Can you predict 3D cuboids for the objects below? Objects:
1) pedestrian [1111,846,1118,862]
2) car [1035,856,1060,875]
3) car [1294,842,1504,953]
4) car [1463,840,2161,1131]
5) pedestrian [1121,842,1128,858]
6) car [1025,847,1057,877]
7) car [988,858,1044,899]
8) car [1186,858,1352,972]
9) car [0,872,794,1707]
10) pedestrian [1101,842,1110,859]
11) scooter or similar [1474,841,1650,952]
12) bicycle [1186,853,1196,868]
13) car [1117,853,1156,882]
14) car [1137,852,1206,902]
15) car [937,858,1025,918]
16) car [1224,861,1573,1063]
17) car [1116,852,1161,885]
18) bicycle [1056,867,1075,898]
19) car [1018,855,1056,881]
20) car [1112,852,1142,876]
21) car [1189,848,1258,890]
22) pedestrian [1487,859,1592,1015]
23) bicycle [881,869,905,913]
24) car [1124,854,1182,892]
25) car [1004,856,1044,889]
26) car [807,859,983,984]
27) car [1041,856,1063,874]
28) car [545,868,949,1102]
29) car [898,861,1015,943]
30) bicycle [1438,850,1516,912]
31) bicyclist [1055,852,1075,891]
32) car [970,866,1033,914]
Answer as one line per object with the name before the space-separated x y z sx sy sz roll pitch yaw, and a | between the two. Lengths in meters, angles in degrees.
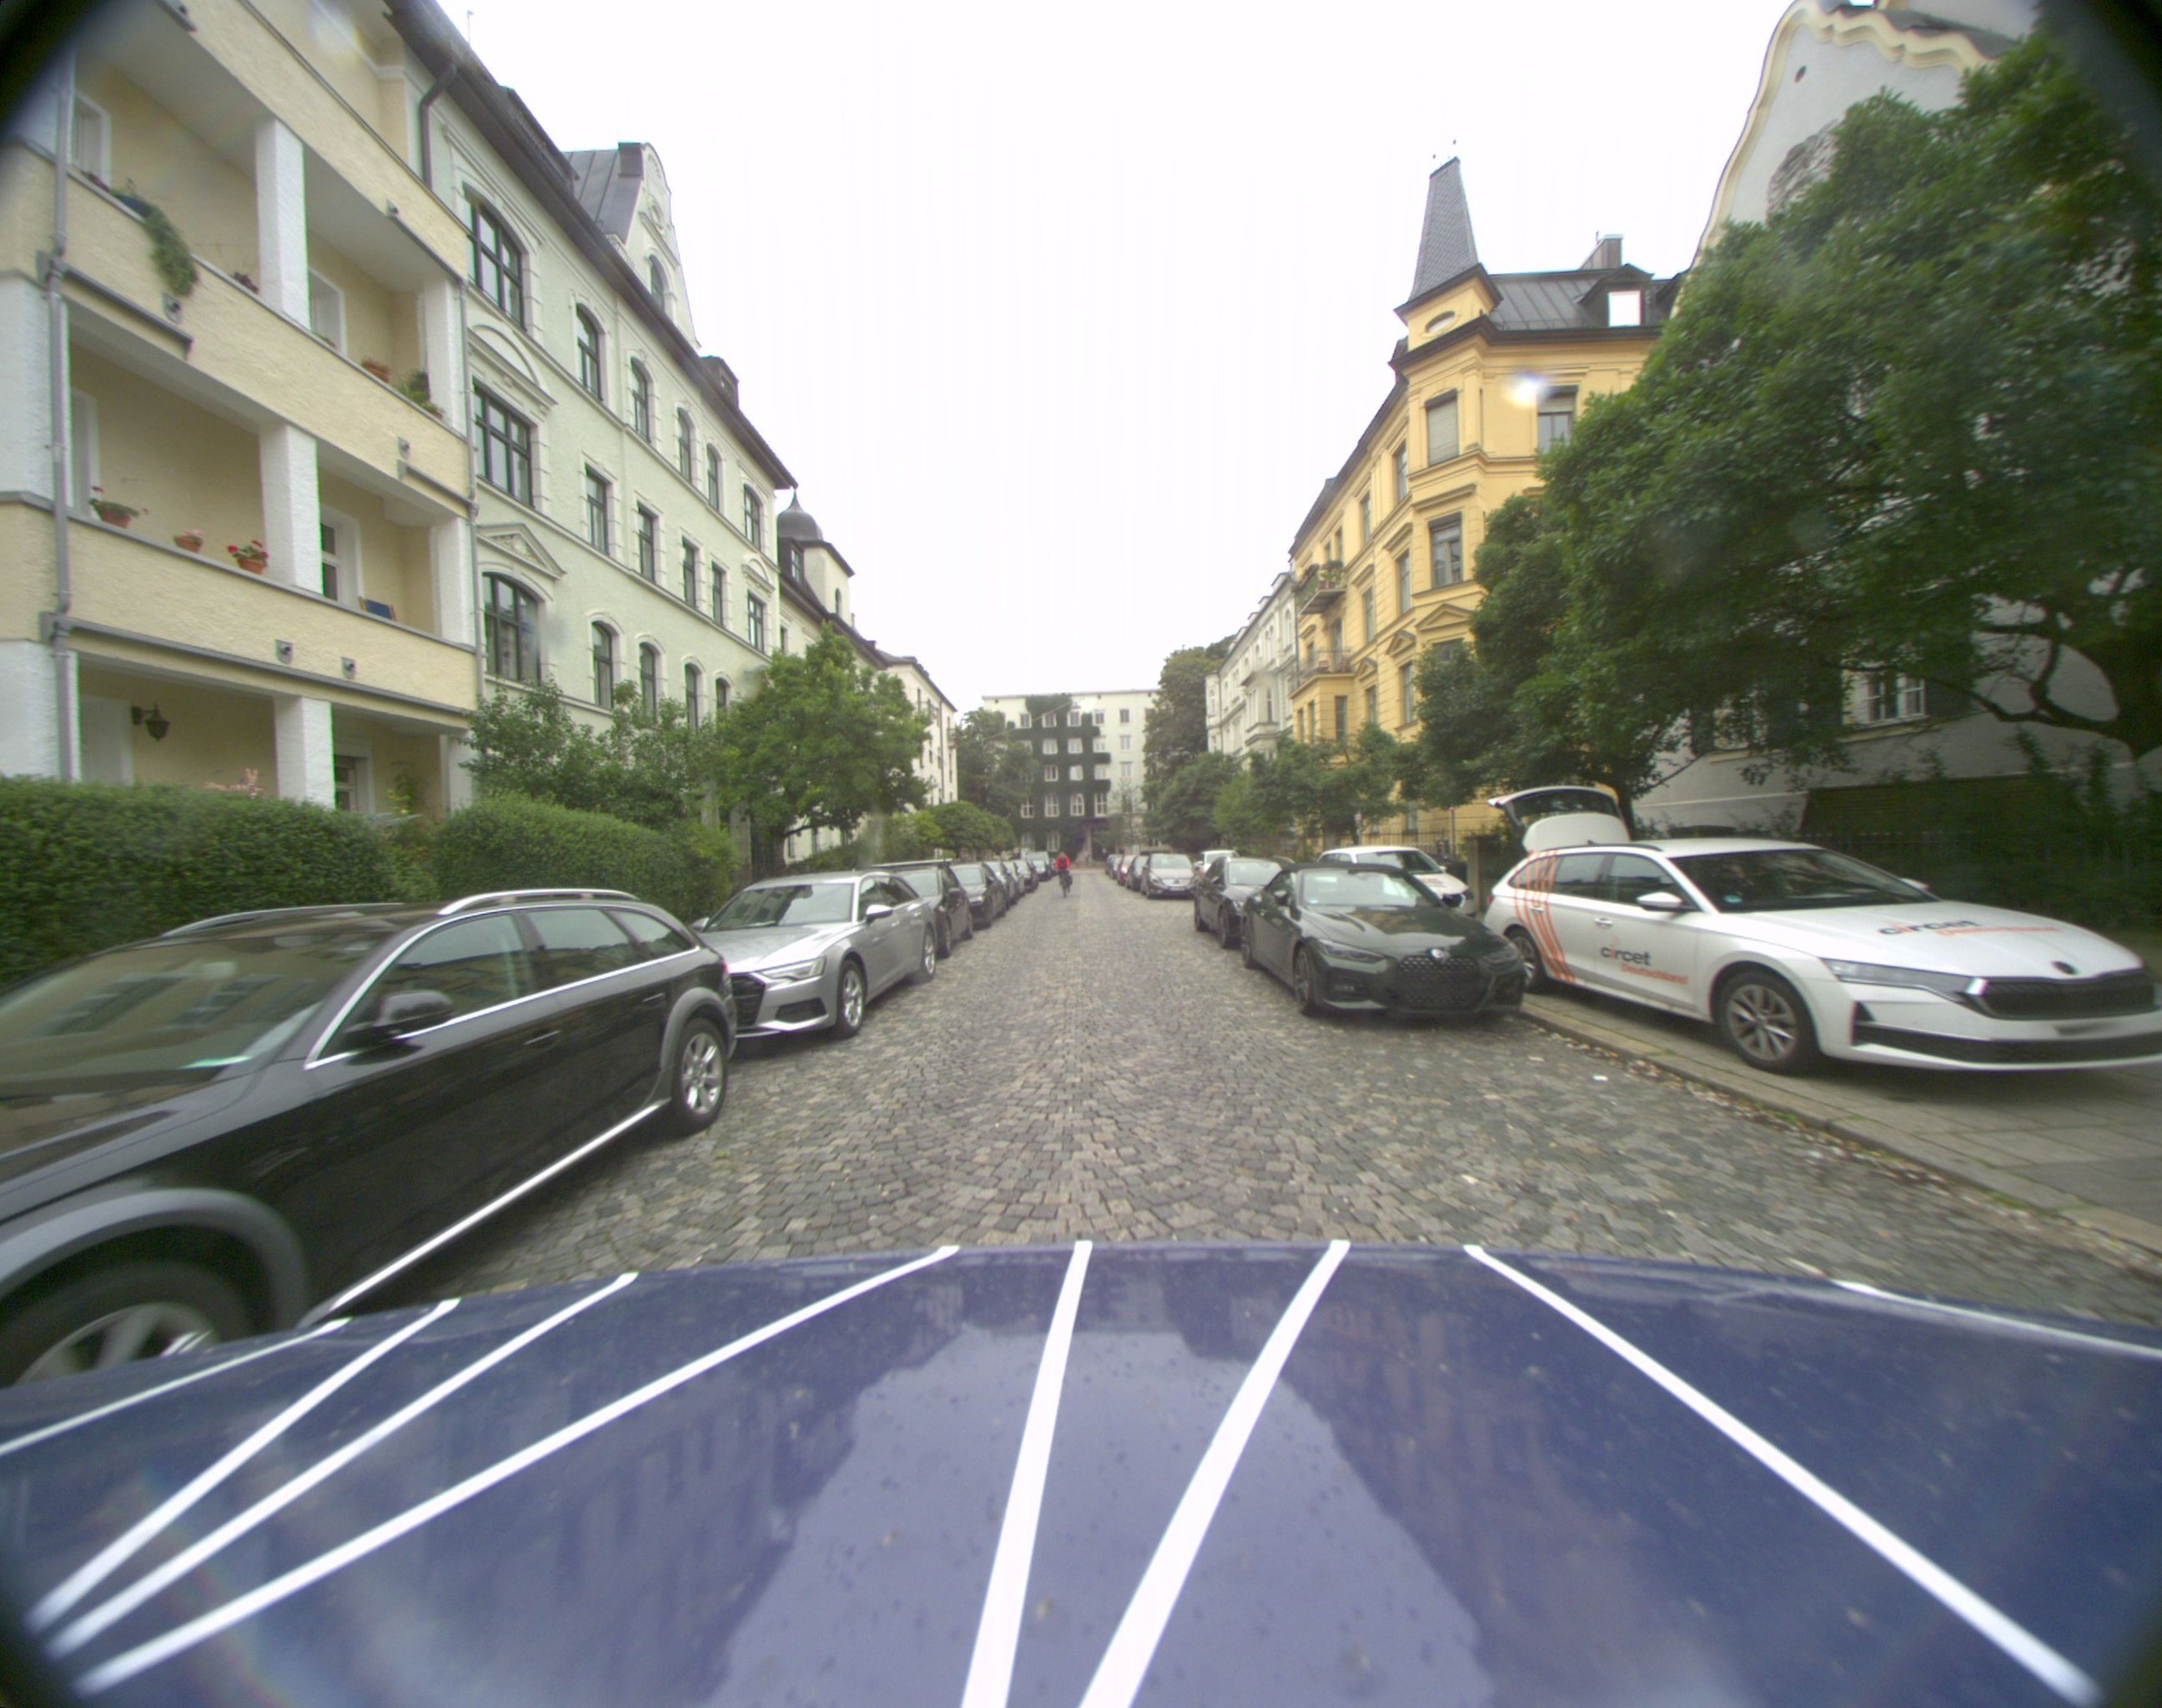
pedestrian | 4.122 -0.055 92.465 0.701 1.905 0.863 -4 1 3
car | -2.621 0.878 60.509 1.744 1.367 4.181 -1 0 0
car | 5.282 0.626 13.350 1.744 1.527 4.466 -3 0 0
car | 5.139 0.669 6.193 1.780 1.408 4.561 -3 0 1
pedestrian | 5.278 -0.509 92.069 0.666 1.905 0.863 -4 1 9
car | -2.872 0.554 55.345 1.999 1.958 4.965 -5 1 -1
car | -2.835 1.032 34.438 1.909 1.494 5.105 -5 0 1
car | 3.030 0.892 13.253 1.744 1.594 4.536 -1 0 0
car | -3.158 0.983 3.030 1.998 1.543 5.014 -4 0 0
pedestrian | 2.985 -0.427 92.059 0.703 1.905 0.861 -5 1 -31
scooter or similar | 7.333 0.586 11.821 1.065 1.514 2.634 -2 0 1
bicycle | 8.028 0.467 55.484 0.464 1.045 1.695 -5 1 1
car | 3.148 0.724 43.921 1.822 1.500 4.641 1 1 -1
car | 3.091 0.732 26.761 1.744 1.577 4.191 -1 0 -3
car | -2.967 0.972 23.592 1.887 1.480 4.813 -4 0 1
car | 2.878 0.850 8.259 1.819 1.447 4.912 1 0 1
car | 2.856 0.683 38.378 1.846 1.577 4.191 -1 0 -1
bicycle | -0.565 1.029 27.924 0.636 1.021 1.955 -3 1 0
car | -2.813 0.886 49.758 1.942 1.457 4.532 -4 0 2
car | 2.923 0.609 49.063 1.815 1.490 4.510 -1 0 2
car | 5.472 0.529 29.777 1.846 1.457 4.389 -3 0 0
pedestrian | 5.078 0.891 8.451 0.768 1.640 0.582 -3 1 2
bicycle | -5.508 1.058 22.272 0.582 1.188 1.646 -3 0 -14
car | 2.992 0.763 32.594 1.875 1.461 5.132 -1 0 -1
car | -2.934 0.934 39.718 1.671 1.499 3.685 -4 0 0
car | -2.976 0.998 13.190 1.898 1.644 4.293 -3 0 0
car | -2.469 0.924 65.542 1.744 1.367 4.281 -1 0 0
car | -2.970 1.041 8.249 1.998 1.543 4.986 -4 0 1
car | -2.814 1.024 18.393 1.823 1.480 5.049 -5 0 1
bicycle | 8.538 0.546 16.488 0.607 1.251 2.060 -2 0 1
bicyclist | -0.582 0.630 27.855 0.648 1.350 0.656 -3 1 0
car | -2.926 1.291 28.785 1.760 1.451 4.480 -4 0 1
